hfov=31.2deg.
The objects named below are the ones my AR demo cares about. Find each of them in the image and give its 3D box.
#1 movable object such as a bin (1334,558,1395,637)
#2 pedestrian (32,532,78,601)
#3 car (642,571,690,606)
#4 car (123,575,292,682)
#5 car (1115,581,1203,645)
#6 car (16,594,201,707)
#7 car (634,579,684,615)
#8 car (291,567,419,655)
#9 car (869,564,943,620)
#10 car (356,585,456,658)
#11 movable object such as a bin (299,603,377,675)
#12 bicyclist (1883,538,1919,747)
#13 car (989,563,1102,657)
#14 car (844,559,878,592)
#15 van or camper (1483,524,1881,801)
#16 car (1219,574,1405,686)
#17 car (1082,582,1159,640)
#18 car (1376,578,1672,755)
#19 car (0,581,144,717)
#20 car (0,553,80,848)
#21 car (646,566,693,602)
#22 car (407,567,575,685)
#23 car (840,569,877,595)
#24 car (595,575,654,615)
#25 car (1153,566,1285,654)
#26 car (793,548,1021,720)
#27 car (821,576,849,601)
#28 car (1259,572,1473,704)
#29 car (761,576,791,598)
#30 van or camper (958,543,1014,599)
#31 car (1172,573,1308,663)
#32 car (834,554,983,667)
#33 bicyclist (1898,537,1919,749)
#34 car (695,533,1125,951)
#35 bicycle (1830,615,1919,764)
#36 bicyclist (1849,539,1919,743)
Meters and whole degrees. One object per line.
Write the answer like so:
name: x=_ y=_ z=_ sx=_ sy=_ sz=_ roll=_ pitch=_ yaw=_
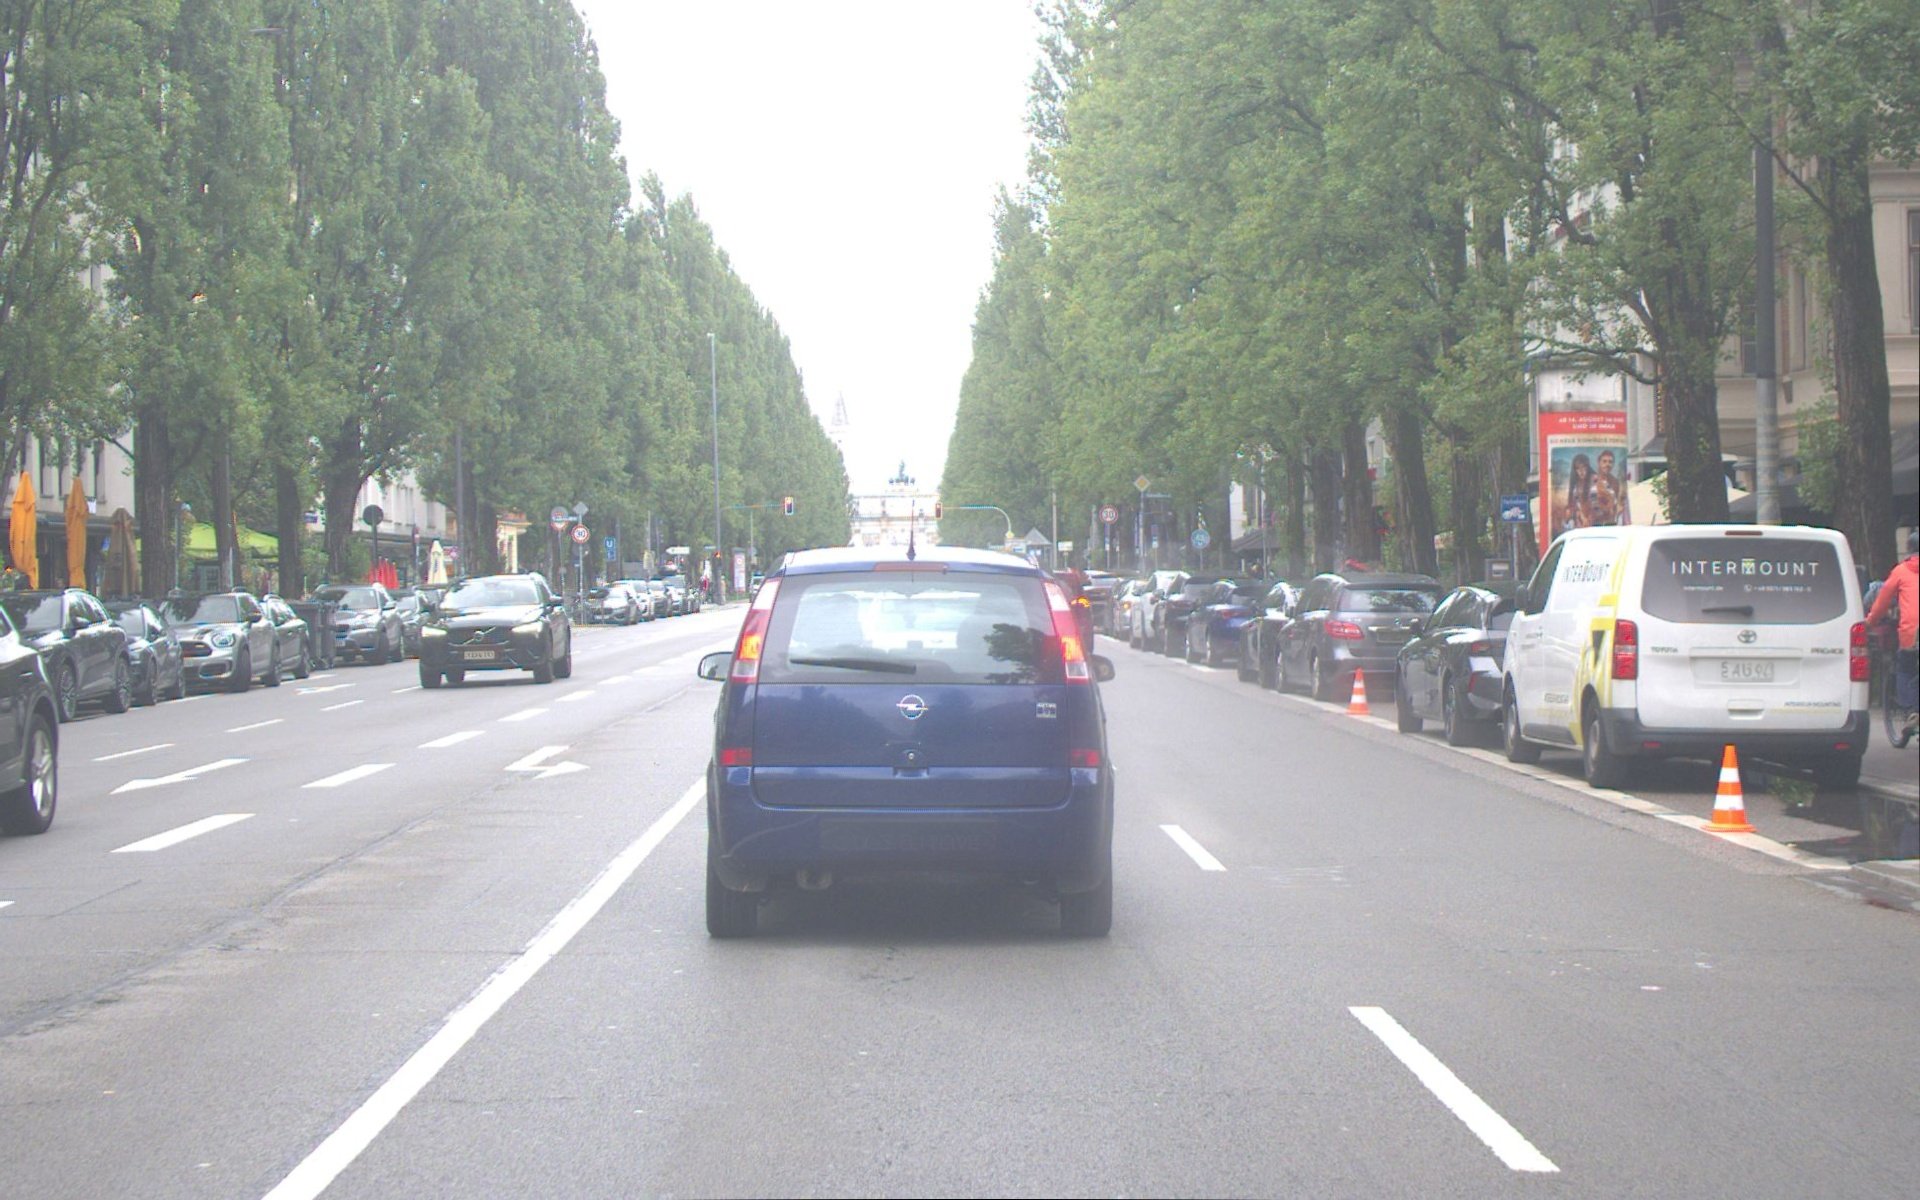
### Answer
movable object such as a bin: x=8.928 y=-0.063 z=75.962 sx=1.032 sy=1.697 sz=1.587 roll=-1 pitch=0 yaw=-5
pedestrian: x=-22.950 y=-0.855 z=87.193 sx=0.852 sy=1.738 sz=1.148 roll=-1 pitch=0 yaw=0
car: x=-13.463 y=-0.538 z=157.743 sx=1.961 sy=1.543 sz=3.779 roll=-1 pitch=0 yaw=-1
car: x=-11.692 y=0.409 z=53.666 sx=1.782 sy=1.570 sz=4.132 roll=-1 pitch=1 yaw=-1
car: x=4.614 y=0.287 z=80.135 sx=1.670 sy=1.401 sz=4.128 roll=1 pitch=0 yaw=-2
car: x=-11.866 y=0.669 z=48.177 sx=1.684 sy=1.419 sz=4.689 roll=-3 pitch=0 yaw=-4
car: x=-12.980 y=-0.140 z=148.387 sx=1.961 sy=1.525 sz=4.000 roll=-1 pitch=0 yaw=-2
car: x=-12.341 y=0.203 z=70.392 sx=1.864 sy=1.649 sz=4.616 roll=-3 pitch=0 yaw=-2
car: x=-1.520 y=-0.228 z=95.744 sx=1.993 sy=1.492 sz=4.000 roll=-1 pitch=1 yaw=-2
car: x=-12.388 y=0.458 z=77.114 sx=1.697 sy=1.545 sz=4.082 roll=-1 pitch=0 yaw=-2
movable object such as a bin: x=-11.757 y=0.738 z=65.012 sx=1.277 sy=1.305 sz=0.902 roll=2 pitch=0 yaw=-1
bicyclist: x=7.458 y=0.314 z=26.329 sx=0.621 sy=1.583 sz=0.481 roll=-1 pitch=0 yaw=-1
car: x=1.462 y=0.150 z=60.056 sx=1.706 sy=1.568 sz=4.000 roll=-1 pitch=1 yaw=-2
car: x=-5.490 y=-1.349 z=190.923 sx=1.835 sy=1.755 sz=3.779 roll=-1 pitch=0 yaw=-1
van or camper: x=5.280 y=0.405 z=25.812 sx=1.868 sy=1.876 sz=4.903 roll=0 pitch=0 yaw=-1
car: x=4.776 y=0.371 z=47.303 sx=1.878 sy=1.427 sz=4.805 roll=-1 pitch=0 yaw=-2
car: x=4.074 y=0.267 z=87.870 sx=1.681 sy=1.410 sz=3.583 roll=1 pitch=0 yaw=-2
car: x=4.993 y=0.545 z=30.995 sx=1.719 sy=1.437 sz=4.354 roll=1 pitch=0 yaw=-3
car: x=-11.678 y=0.589 z=43.137 sx=1.803 sy=1.589 sz=4.631 roll=-2 pitch=0 yaw=-1
car: x=-6.414 y=0.589 z=19.133 sx=1.913 sy=1.675 sz=4.586 roll=-1 pitch=1 yaw=-1
car: x=-13.899 y=-0.767 z=164.415 sx=1.993 sy=1.656 sz=4.000 roll=-1 pitch=0 yaw=-2
car: x=-6.949 y=0.355 z=51.308 sx=1.935 sy=1.618 sz=4.337 roll=-2 pitch=0 yaw=-1
car: x=-5.452 y=-0.974 z=184.666 sx=1.961 sy=1.395 sz=3.779 roll=-1 pitch=0 yaw=-1
car: x=-12.195 y=-0.181 z=125.067 sx=1.830 sy=1.415 sz=3.811 roll=0 pitch=0 yaw=-1
car: x=4.794 y=0.160 z=64.275 sx=1.993 sy=1.560 sz=4.484 roll=-1 pitch=1 yaw=-2
car: x=-0.532 y=0.280 z=32.356 sx=1.993 sy=1.492 sz=4.000 roll=-1 pitch=1 yaw=-2
car: x=-8.610 y=-0.806 z=236.445 sx=1.835 sy=1.671 sz=3.779 roll=-1 pitch=0 yaw=-1
car: x=4.918 y=0.430 z=42.193 sx=1.816 sy=1.501 sz=4.233 roll=-1 pitch=0 yaw=-4
car: x=-13.096 y=-0.946 z=244.898 sx=1.961 sy=1.543 sz=3.779 roll=-1 pitch=0 yaw=-1
van or camper: x=1.198 y=-1.365 z=162.257 sx=2.476 sy=2.572 sz=5.844 roll=-1 pitch=0 yaw=-1
car: x=4.633 y=0.273 z=57.503 sx=1.749 sy=1.400 sz=4.465 roll=-1 pitch=1 yaw=-2
car: x=-0.759 y=0.122 z=48.558 sx=1.993 sy=1.492 sz=4.000 roll=-1 pitch=1 yaw=-2
bicyclist: x=7.462 y=0.315 z=25.957 sx=0.621 sy=1.583 sz=0.391 roll=-1 pitch=0 yaw=-1
car: x=-0.258 y=0.537 z=15.454 sx=1.681 sy=1.635 sz=4.000 roll=0 pitch=1 yaw=-2
bicycle: x=7.446 y=0.673 z=26.900 sx=0.626 sy=1.083 sz=2.264 roll=-1 pitch=0 yaw=-2
bicyclist: x=7.432 y=0.313 z=27.099 sx=0.621 sy=1.583 sz=0.753 roll=-1 pitch=0 yaw=-1
